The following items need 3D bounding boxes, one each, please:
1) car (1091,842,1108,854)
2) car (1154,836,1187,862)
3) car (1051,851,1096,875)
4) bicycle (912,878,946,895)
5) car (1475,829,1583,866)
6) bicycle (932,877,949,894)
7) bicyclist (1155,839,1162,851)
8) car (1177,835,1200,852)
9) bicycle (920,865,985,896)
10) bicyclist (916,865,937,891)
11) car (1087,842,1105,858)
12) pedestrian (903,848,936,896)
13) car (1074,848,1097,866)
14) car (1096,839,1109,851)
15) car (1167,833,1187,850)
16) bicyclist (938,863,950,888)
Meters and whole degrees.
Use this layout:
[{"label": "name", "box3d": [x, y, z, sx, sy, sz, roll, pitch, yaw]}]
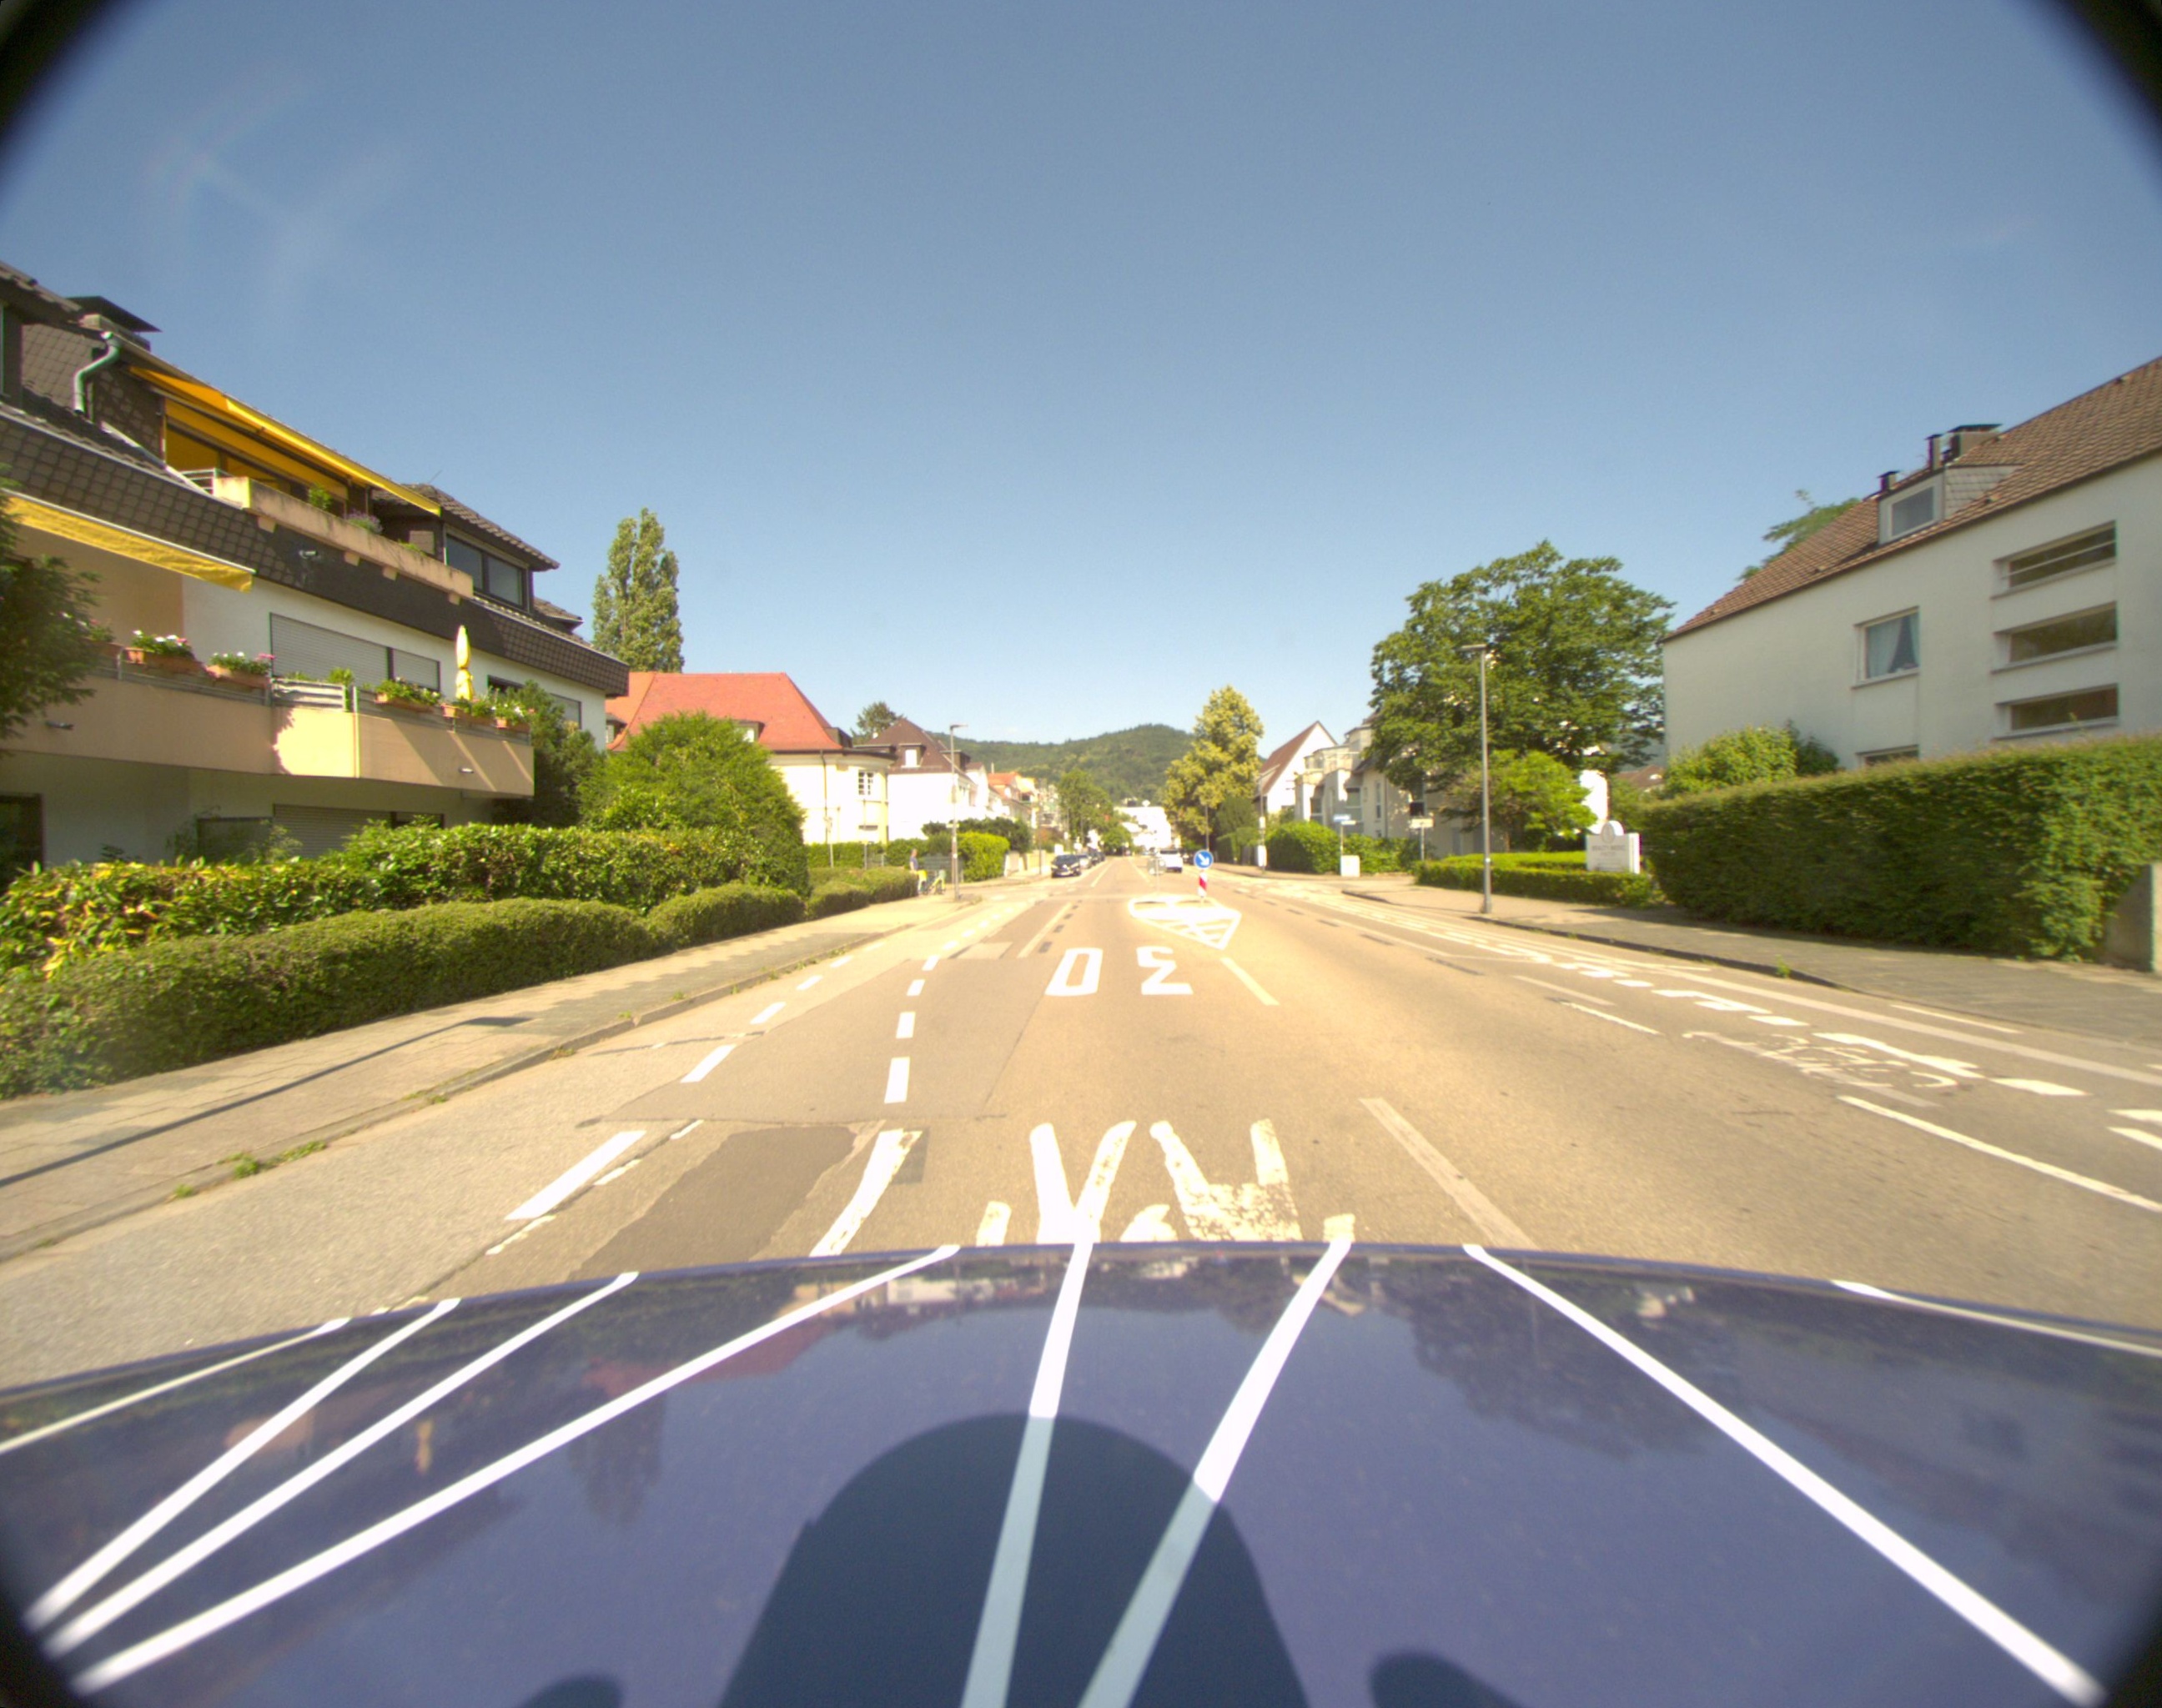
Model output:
[{"label": "car", "box3d": [2.334, -0.712, 95.346, 1.622, 1.441, 4.002, -1, 1, 10]}, {"label": "car", "box3d": [6.104, -0.376, 52.171, 1.919, 1.657, 4.505, 0, 2, 2]}, {"label": "car", "box3d": [-0.413, 0.535, 48.217, 1.739, 1.460, 4.349, 0, 1, 15]}, {"label": "bicycle", "box3d": [-5.644, 1.208, 28.203, 1.149, 0.596, 0.403, -1, 2, 18]}, {"label": "car", "box3d": [18.731, -0.272, 31.865, 3.500, 1.404, 1.726, -2, 2, 2]}, {"label": "bicycle", "box3d": [-5.365, 1.189, 29.016, 0.403, 0.596, 1.171, -2, 1, -21]}, {"label": "bicyclist", "box3d": [10.469, -1.263, 102.346, 0.677, 1.571, 0.859, 6, 2, 3]}, {"label": "car", "box3d": [10.830, -1.112, 76.906, 1.855, 1.602, 4.447, -1, 1, 2]}, {"label": "bicycle", "box3d": [-5.134, 1.025, 30.320, 2.704, 1.152, 0.865, -1, 2, 35]}, {"label": "bicyclist", "box3d": [-5.733, 0.893, 28.207, 0.607, 0.928, 0.400, -1, 2, 18]}, {"label": "car", "box3d": [1.546, -0.397, 79.144, 1.726, 1.441, 4.168, -5, 1, 2]}, {"label": "pedestrian", "box3d": [-6.476, 0.691, 30.418, 0.903, 1.862, 1.186, -3, 2, -30]}, {"label": "car", "box3d": [0.407, 0.245, 66.533, 1.740, 1.322, 4.075, -4, 2, 3]}, {"label": "car", "box3d": [3.052, -1.270, 108.219, 1.700, 1.574, 4.900, -4, 1, 1]}, {"label": "car", "box3d": [11.374, -1.512, 90.518, 1.889, 1.909, 4.867, -1, 2, 2]}, {"label": "bicyclist", "box3d": [-5.208, 0.814, 28.870, 0.402, 0.924, 0.657, -2, 2, -13]}]
